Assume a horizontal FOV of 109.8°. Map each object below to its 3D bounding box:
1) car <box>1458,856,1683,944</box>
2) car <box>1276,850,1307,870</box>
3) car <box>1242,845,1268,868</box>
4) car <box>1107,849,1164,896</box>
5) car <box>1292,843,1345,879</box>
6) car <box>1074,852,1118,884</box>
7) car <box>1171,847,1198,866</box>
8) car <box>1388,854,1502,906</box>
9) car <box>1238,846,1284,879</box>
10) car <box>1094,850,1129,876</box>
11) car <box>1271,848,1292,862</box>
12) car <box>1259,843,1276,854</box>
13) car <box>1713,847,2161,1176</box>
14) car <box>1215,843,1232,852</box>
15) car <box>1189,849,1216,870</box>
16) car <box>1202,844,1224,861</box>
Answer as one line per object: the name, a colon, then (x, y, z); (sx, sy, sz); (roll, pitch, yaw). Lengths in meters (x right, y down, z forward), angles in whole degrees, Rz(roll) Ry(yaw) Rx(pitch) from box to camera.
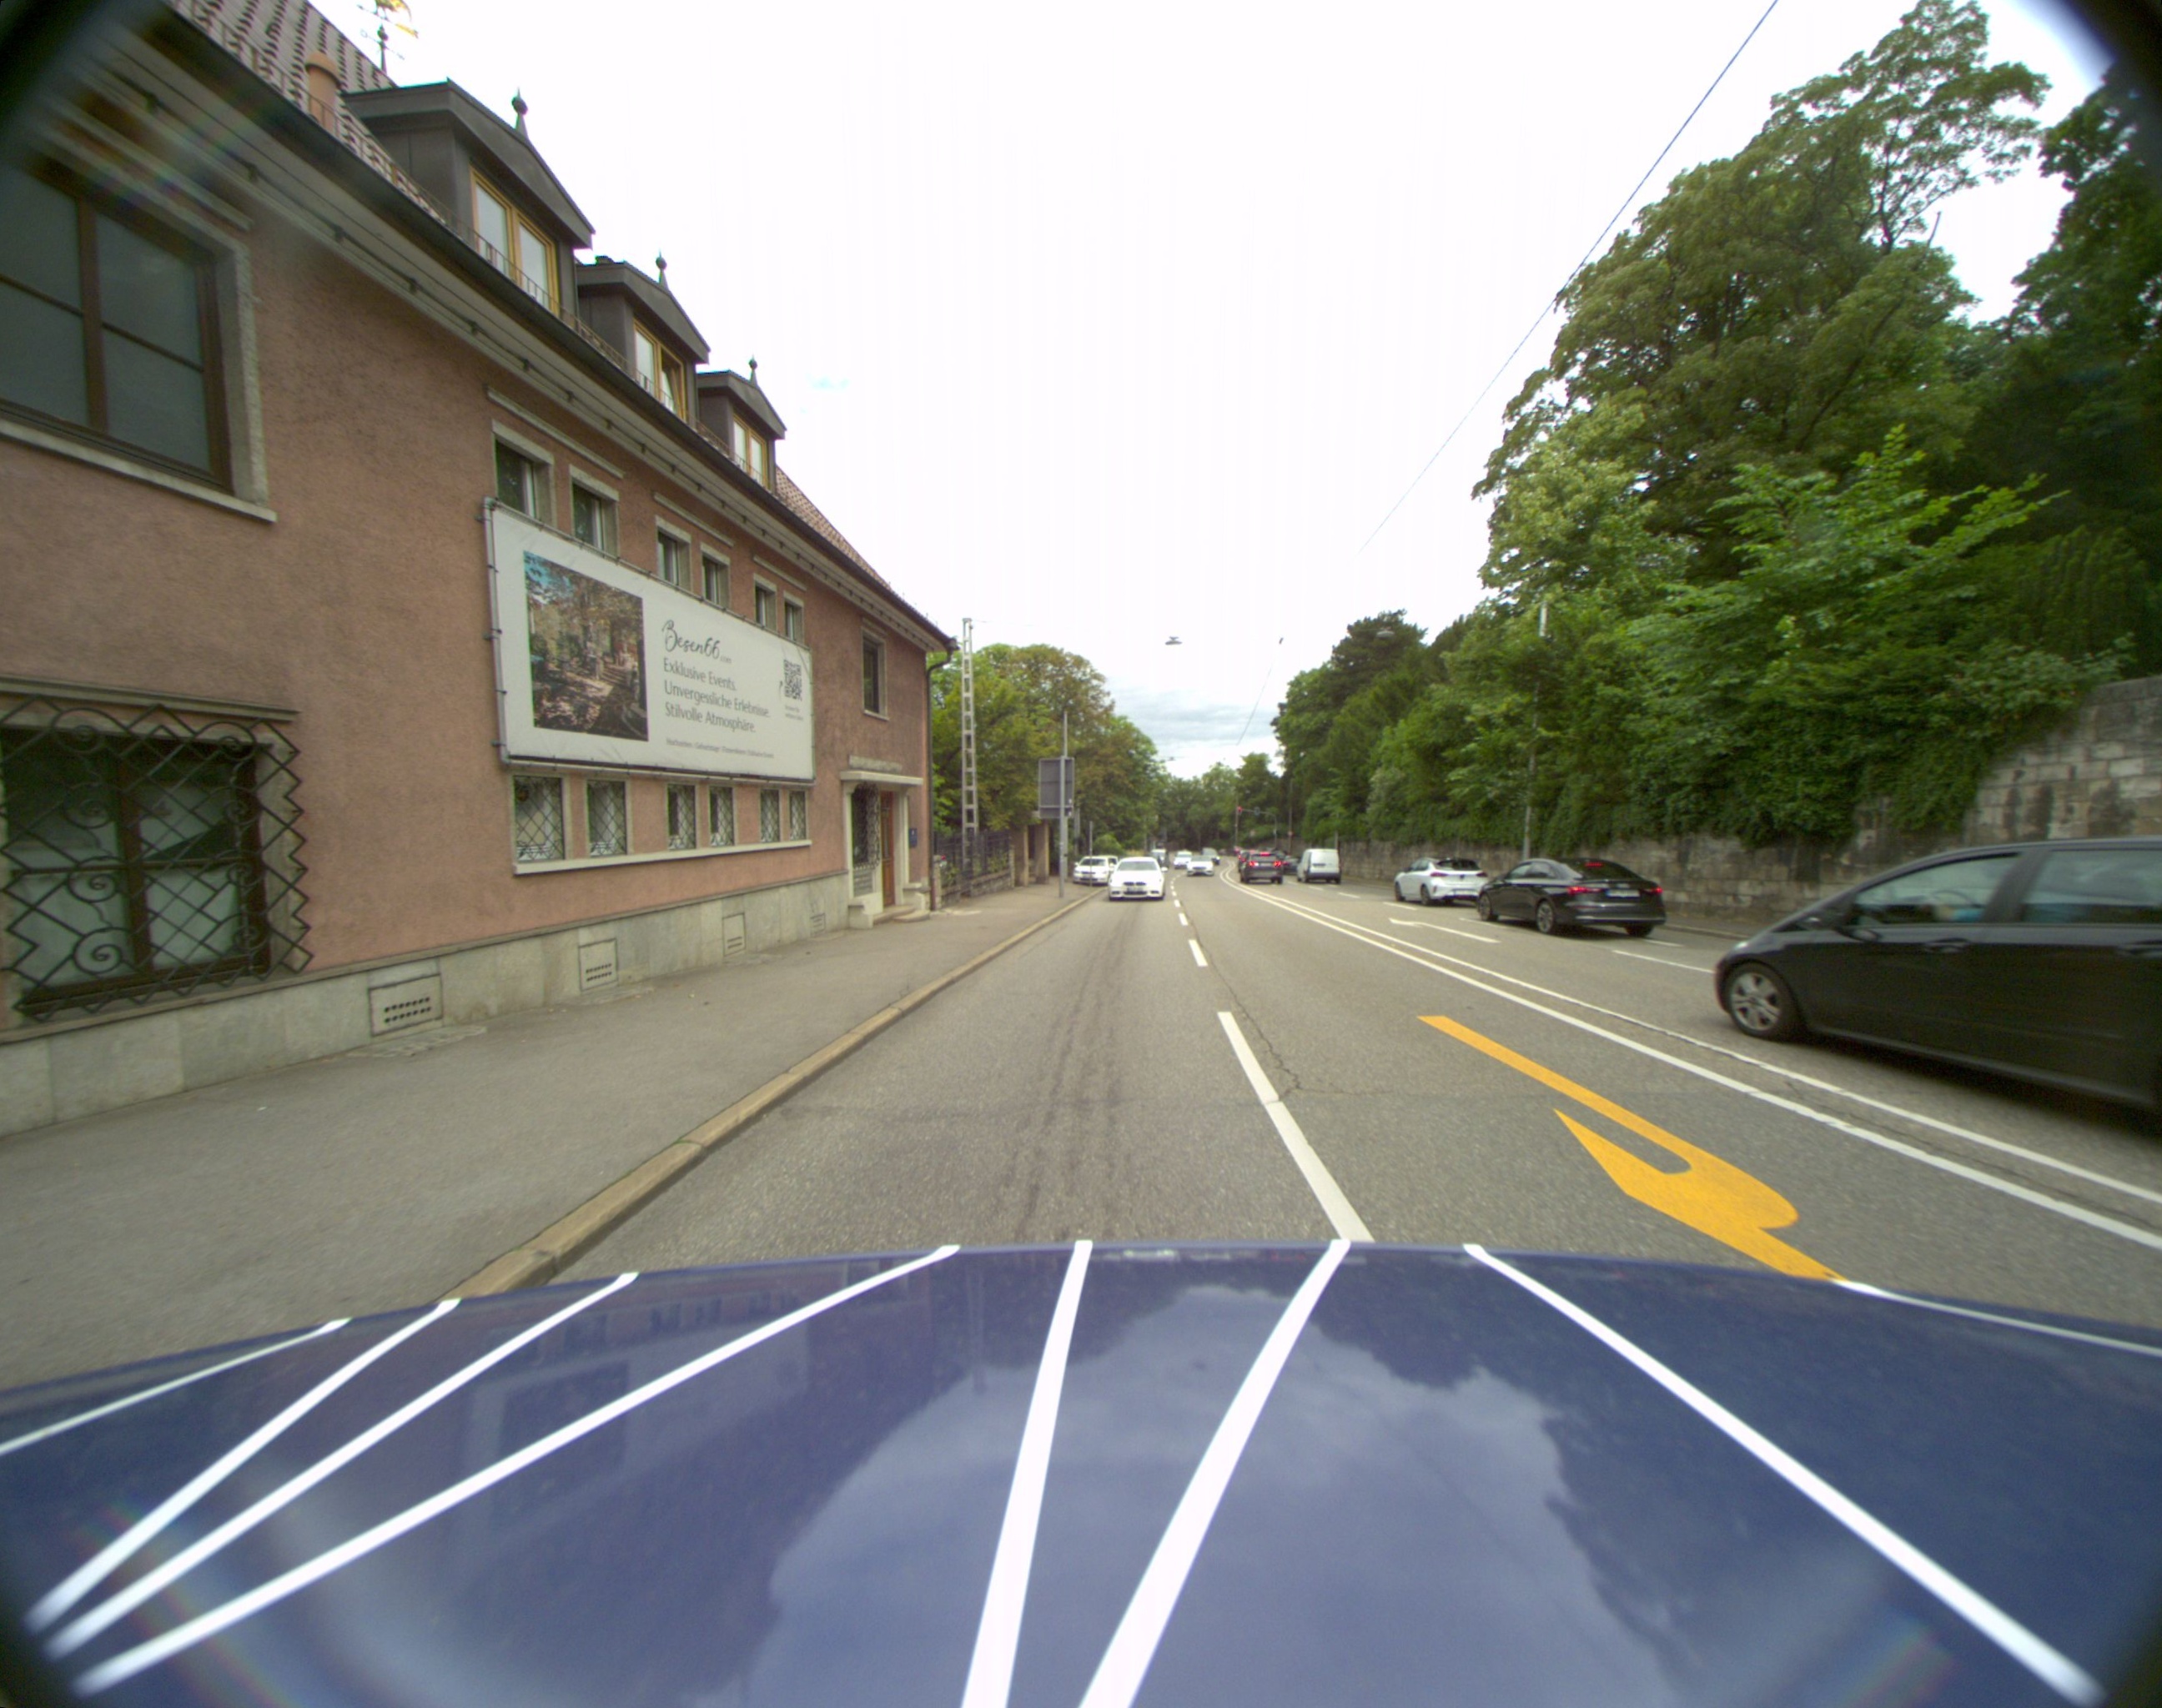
car: (9.294, 0.778, 14.949); (1.687, 1.410, 4.429); (1, 0, 2)
car: (15.437, 0.404, 55.923); (1.565, 1.394, 4.255); (1, 1, 6)
car: (13.893, 0.173, 60.818); (1.850, 1.642, 4.627); (1, 2, 12)
car: (2.025, 0.626, 27.107); (1.822, 1.462, 4.787); (2, 0, 6)
car: (12.720, 0.345, 40.973); (1.896, 1.837, 4.398); (0, 1, 6)
car: (0.815, 0.667, 38.538); (1.678, 1.453, 4.368); (1, 1, 8)
car: (9.807, 0.216, 72.345); (1.958, 1.761, 4.000); (-1, 0, 0)
car: (10.725, 0.695, 22.703); (1.719, 1.395, 4.025); (0, 0, 5)
car: (9.312, 0.407, 39.540); (1.852, 1.623, 4.363); (-1, 0, 7)
car: (1.852, 0.505, 45.121); (1.718, 1.463, 4.040); (1, 0, 7)
car: (21.152, 0.035, 80.297); (1.846, 1.401, 4.459); (1, 1, 11)
car: (25.625, -0.765, 104.414); (2.005, 1.401, 4.759); (0, 0, 11)
car: (6.033, 0.750, 4.376); (1.758, 1.557, 3.679); (1, 0, 2)
car: (23.504, -1.139, 125.244); (1.995, 1.433, 4.006); (-1, 0, 24)
car: (8.477, 0.393, 53.246); (1.801, 1.382, 3.530); (0, 0, 8)
car: (14.258, -0.163, 82.259); (1.957, 1.730, 4.001); (-1, 0, 3)
